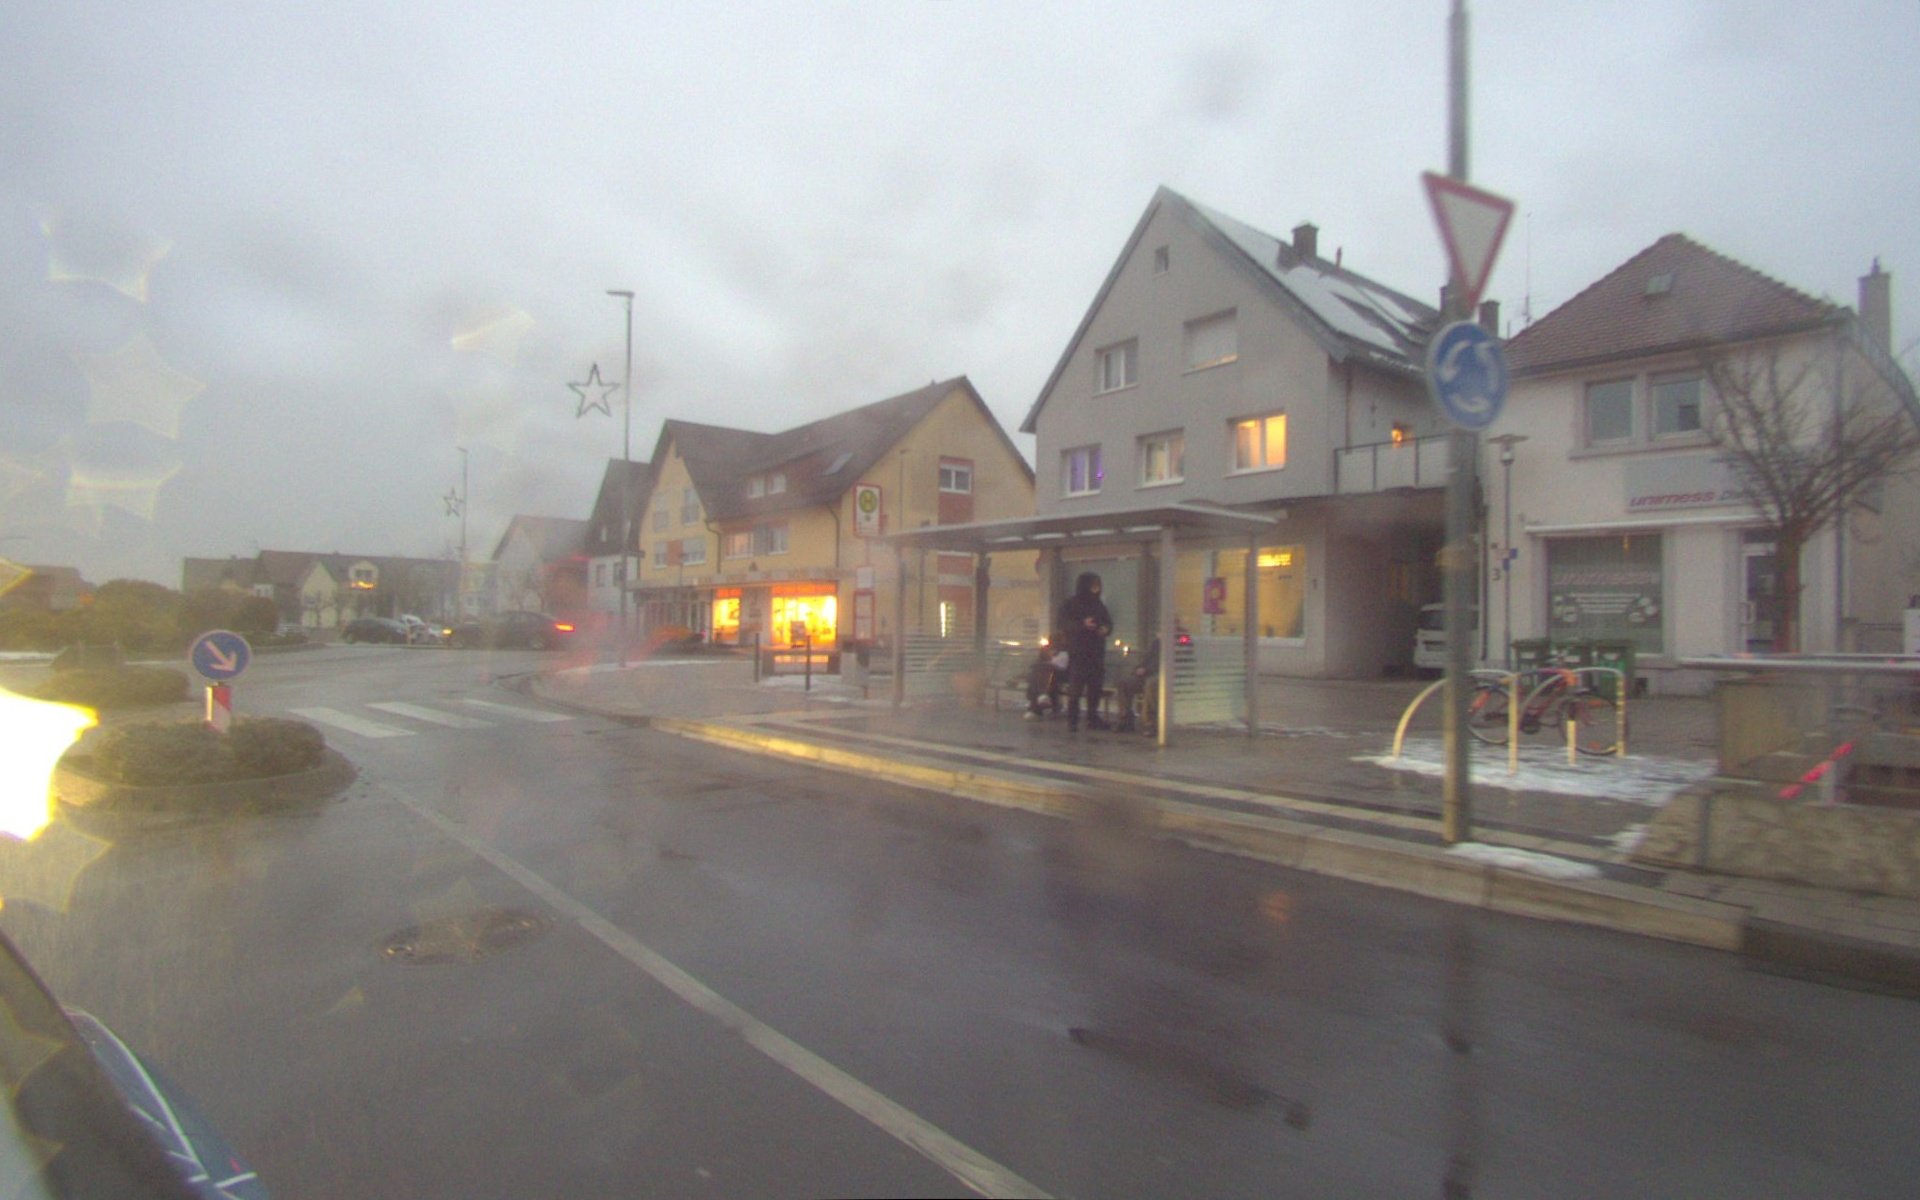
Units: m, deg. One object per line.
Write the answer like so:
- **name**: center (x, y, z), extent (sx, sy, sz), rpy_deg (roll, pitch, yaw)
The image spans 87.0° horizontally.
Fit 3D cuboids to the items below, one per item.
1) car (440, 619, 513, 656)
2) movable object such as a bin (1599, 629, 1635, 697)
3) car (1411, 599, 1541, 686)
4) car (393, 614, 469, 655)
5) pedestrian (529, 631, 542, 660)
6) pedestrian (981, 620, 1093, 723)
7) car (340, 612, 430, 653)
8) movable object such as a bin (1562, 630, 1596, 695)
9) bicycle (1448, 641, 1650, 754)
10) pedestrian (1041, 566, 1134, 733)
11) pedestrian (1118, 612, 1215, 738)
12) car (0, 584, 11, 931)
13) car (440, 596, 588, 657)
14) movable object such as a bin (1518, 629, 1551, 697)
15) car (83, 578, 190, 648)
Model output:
- **car**: center (-28.061, 2.144, 58.708), extent (3.854, 1.895, 1.918), rpy_deg (1, 1, 28)
- **movable object such as a bin**: center (11.533, 1.101, 17.766), extent (0.284, 1.151, 0.454), rpy_deg (0, 1, -44)
- **car**: center (11.980, 0.946, 23.415), extent (3.373, 1.867, 1.516), rpy_deg (2, -1, -41)
- **car**: center (-29.536, 1.891, 56.503), extent (3.953, 2.029, 1.908), rpy_deg (1, 1, 28)
- **pedestrian**: center (-24.784, 2.656, 59.109), extent (0.574, 1.623, 0.500), rpy_deg (0, 1, -44)
- **pedestrian**: center (0.937, 0.852, 12.364), extent (0.976, 1.167, 0.903), rpy_deg (0, -3, -40)
- **car**: center (-30.768, 1.697, 54.154), extent (3.962, 2.010, 1.963), rpy_deg (1, 1, 15)
- **movable object such as a bin**: center (11.140, 1.124, 18.217), extent (0.284, 1.129, 0.454), rpy_deg (0, 1, -44)
- **bicycle**: center (5.891, 0.938, 10.228), extent (0.463, 1.017, 1.744), rpy_deg (1, -2, -32)
- **pedestrian**: center (1.413, 0.528, 11.190), extent (0.687, 1.755, 0.740), rpy_deg (-2, -1, 41)
- **pedestrian**: center (2.214, 0.784, 10.879), extent (0.677, 1.281, 0.751), rpy_deg (0, -1, -44)
- **car**: center (-6.591, 0.732, 5.237), extent (4.106, 1.597, 1.933), rpy_deg (0, -1, 39)
- **car**: center (-15.813, 0.907, 36.007), extent (4.402, 2.029, 2.000), rpy_deg (1, 1, 0)
- **movable object such as a bin**: center (10.643, 1.165, 18.742), extent (0.284, 1.219, 0.454), rpy_deg (0, 1, -44)
- **car**: center (-25.771, 0.335, 31.832), extent (2.024, 2.002, 4.551), rpy_deg (0, 1, -32)
